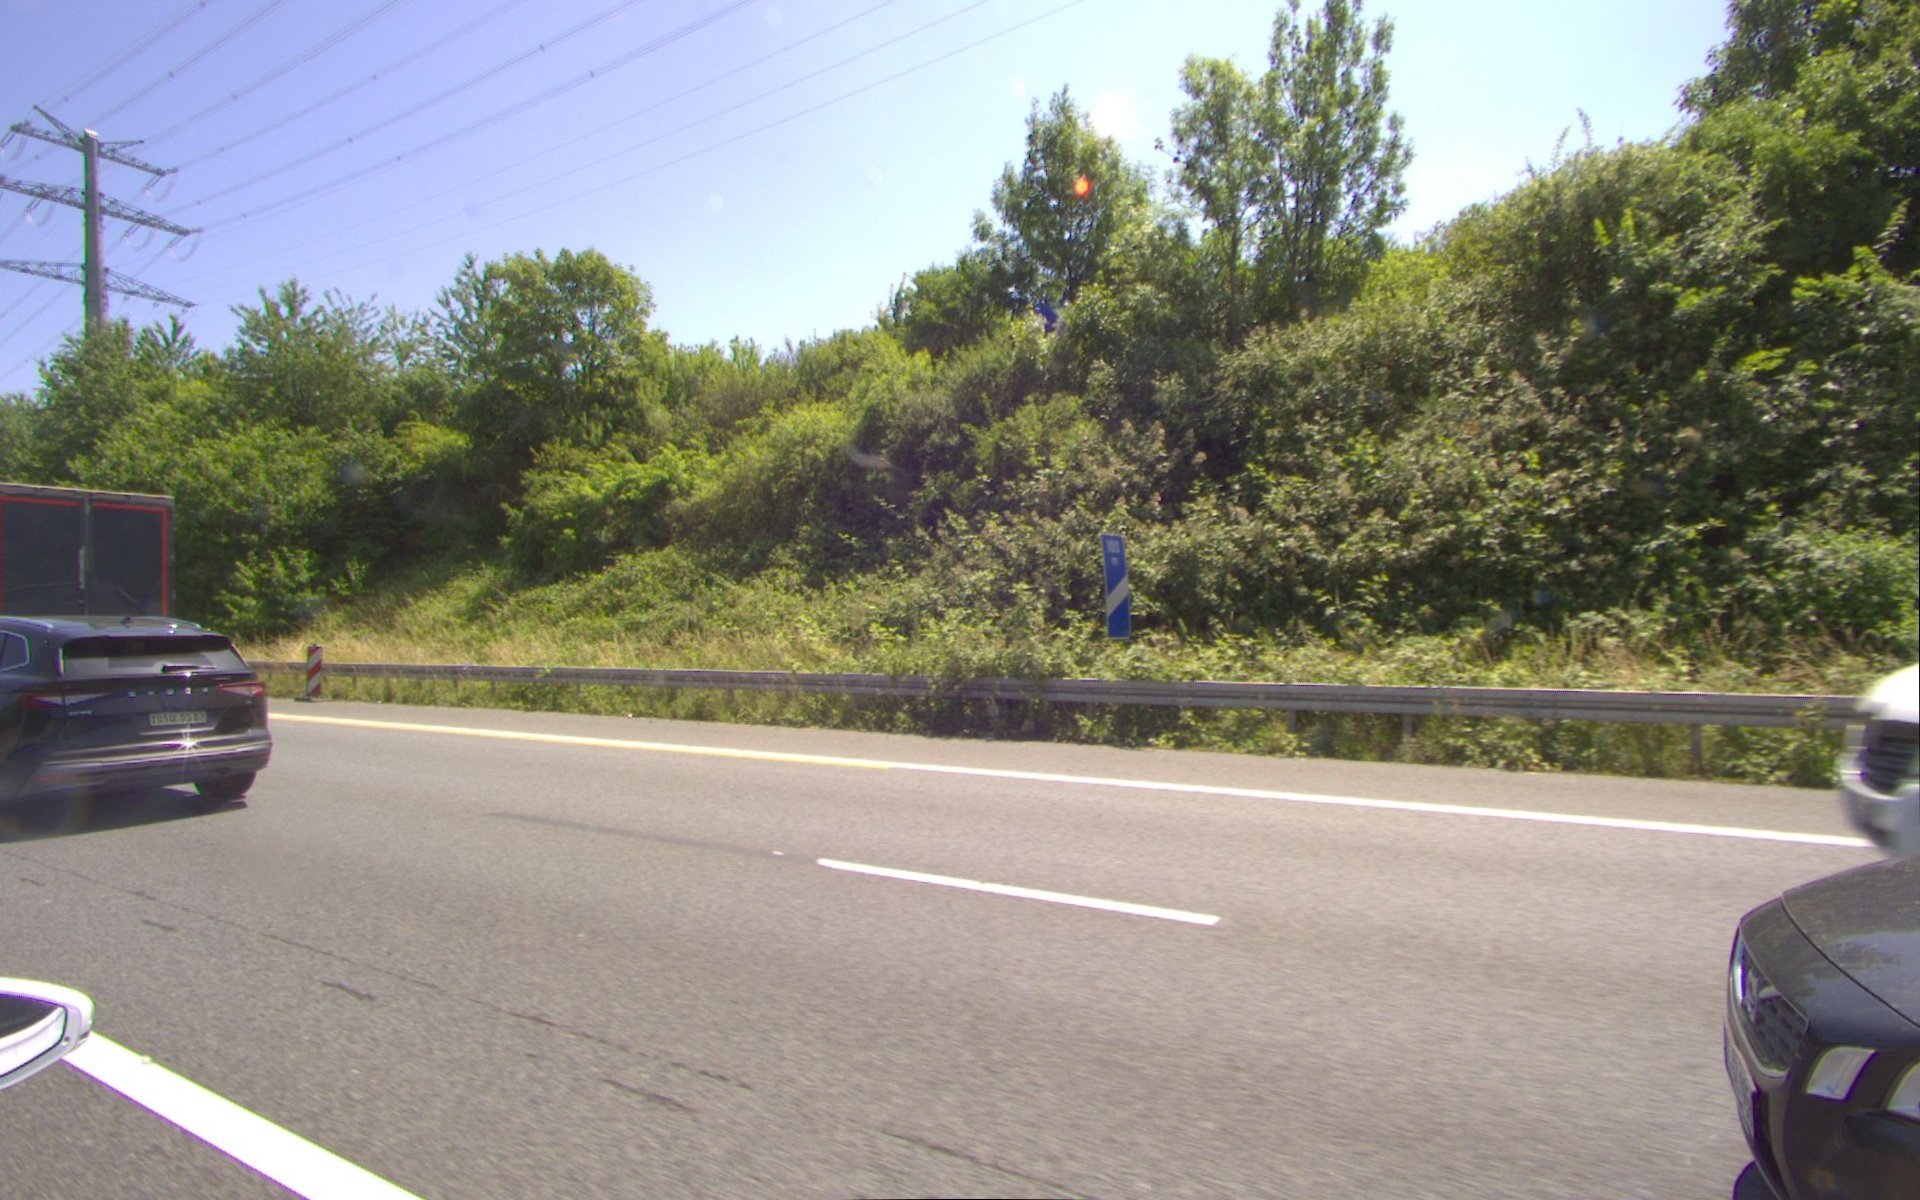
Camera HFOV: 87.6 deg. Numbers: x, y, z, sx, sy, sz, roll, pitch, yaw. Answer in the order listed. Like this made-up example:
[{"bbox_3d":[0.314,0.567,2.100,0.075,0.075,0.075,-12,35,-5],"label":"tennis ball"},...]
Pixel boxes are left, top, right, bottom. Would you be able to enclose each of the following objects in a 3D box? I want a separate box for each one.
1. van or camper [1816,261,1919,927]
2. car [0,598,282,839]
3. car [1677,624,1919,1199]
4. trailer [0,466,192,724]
[{"bbox_3d":[8.120,-0.062,3.440,7.523,3.082,2.365,-1,-2,32],"label":"van or camper"},{"bbox_3d":[-8.027,0.897,8.824,4.364,1.676,1.699,-1,-2,31],"label":"car"},{"bbox_3d":[3.721,0.740,1.246,4.445,1.437,1.792,-1,-2,32],"label":"car"},{"bbox_3d":[-20.164,0.102,20.309,12.921,4.098,2.780,-1,-2,31],"label":"trailer"}]
